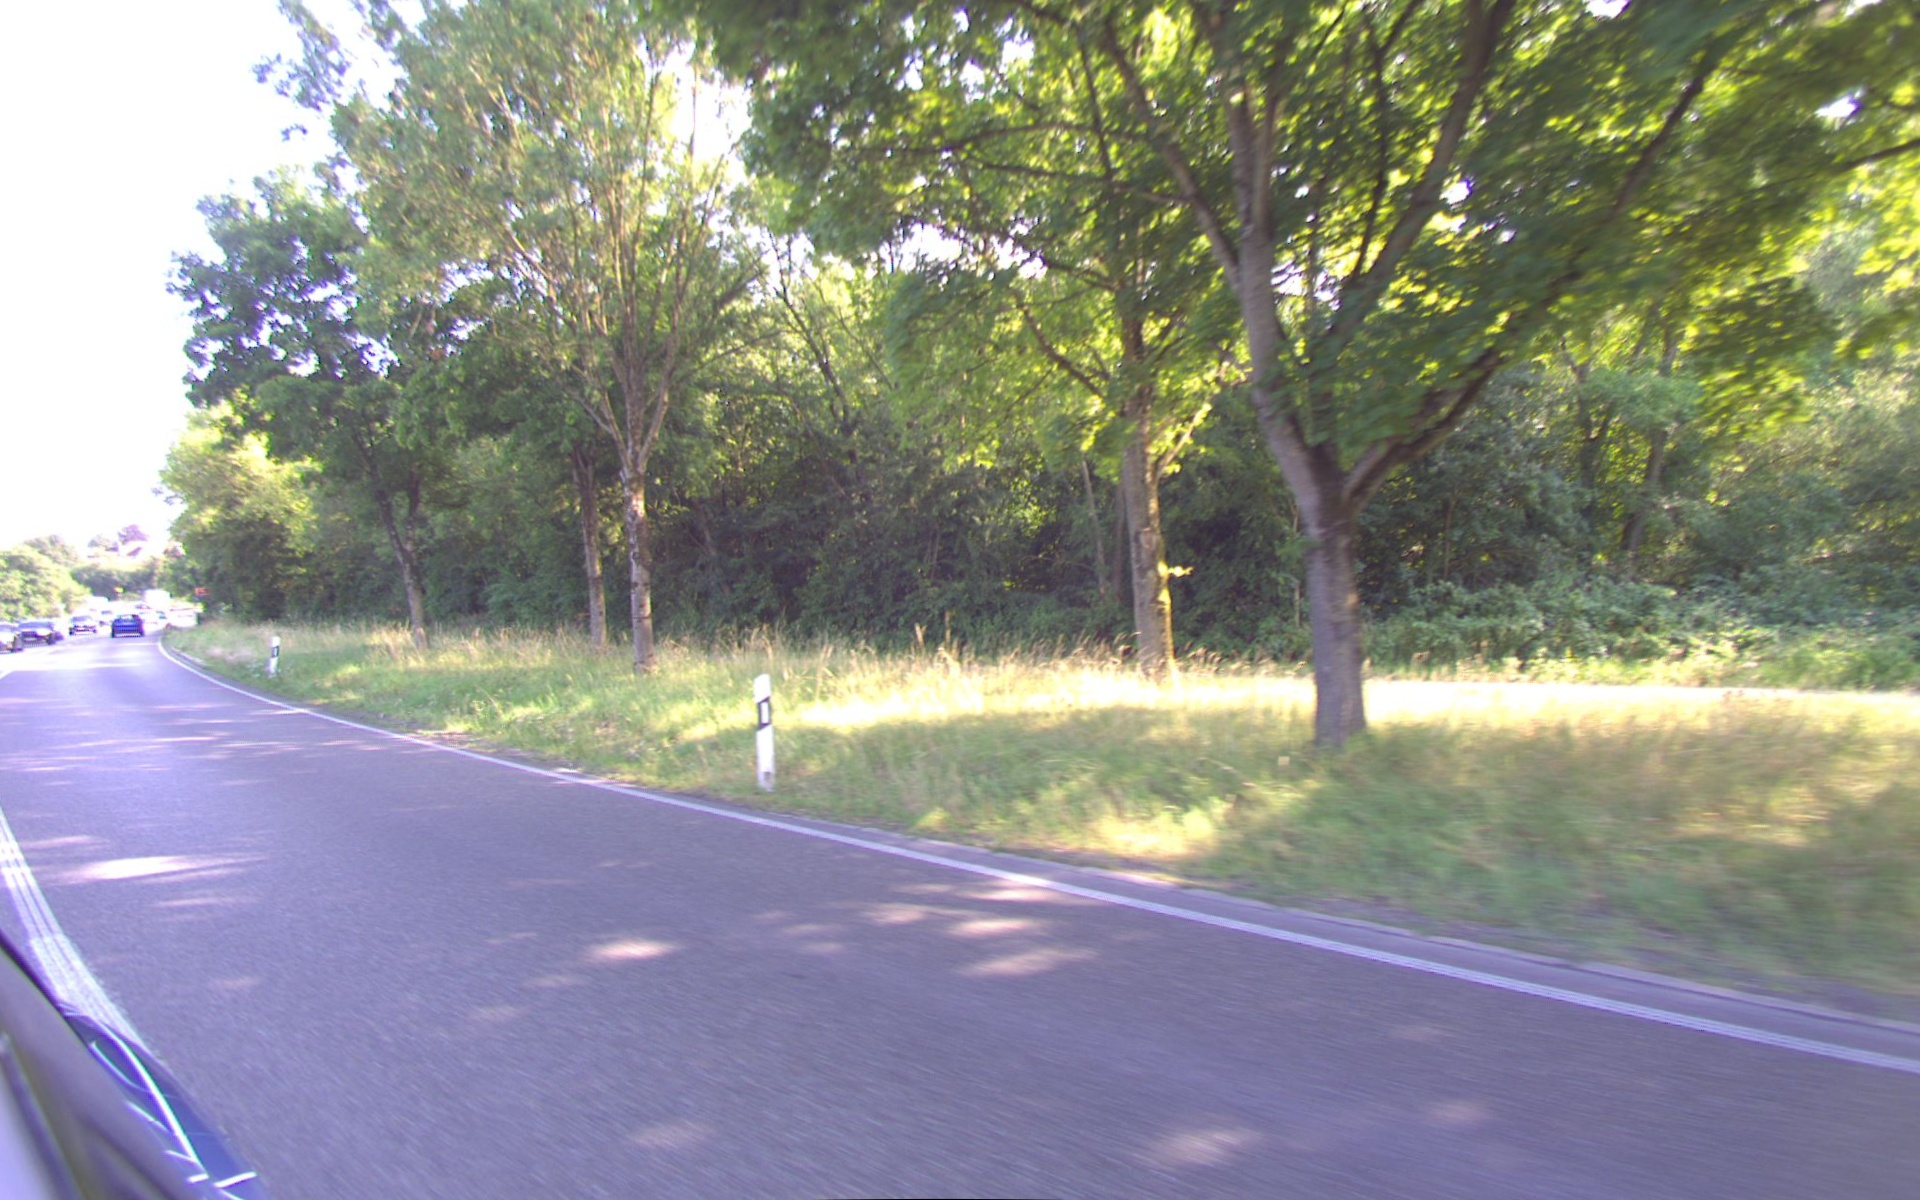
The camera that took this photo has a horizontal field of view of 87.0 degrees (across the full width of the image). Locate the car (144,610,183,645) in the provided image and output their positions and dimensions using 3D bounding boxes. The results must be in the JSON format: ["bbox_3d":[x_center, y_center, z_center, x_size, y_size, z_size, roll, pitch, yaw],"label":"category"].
[{"bbox_3d":[-58.154,1.952,73.842,2.057,2.435,5.150,-1,0,-40],"label":"car"}]

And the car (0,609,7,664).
[{"bbox_3d":[-45.191,1.667,46.403,2.059,2.435,5.145,-1,0,-45],"label":"car"}]

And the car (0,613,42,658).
[{"bbox_3d":[-54.000,1.999,57.829,2.059,2.435,5.145,-1,0,-45],"label":"car"}]

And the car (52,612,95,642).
[{"bbox_3d":[-74.991,2.244,85.656,2.055,2.435,5.156,-1,0,-34],"label":"car"}]

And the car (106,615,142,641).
[{"bbox_3d":[-57.604,1.904,69.756,1.873,1.644,4.258,-1,0,-39],"label":"car"}]

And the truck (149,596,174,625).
[{"bbox_3d":[-149.416,1.942,189.398,3.576,5.210,10.482,0,-1,-38],"label":"truck"}]

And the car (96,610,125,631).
[{"bbox_3d":[-100.909,2.417,120.270,2.055,2.435,5.156,-1,0,-34],"label":"car"}]

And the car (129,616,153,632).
[{"bbox_3d":[-90.092,2.656,111.336,1.865,1.644,4.260,-1,0,-37],"label":"car"}]
